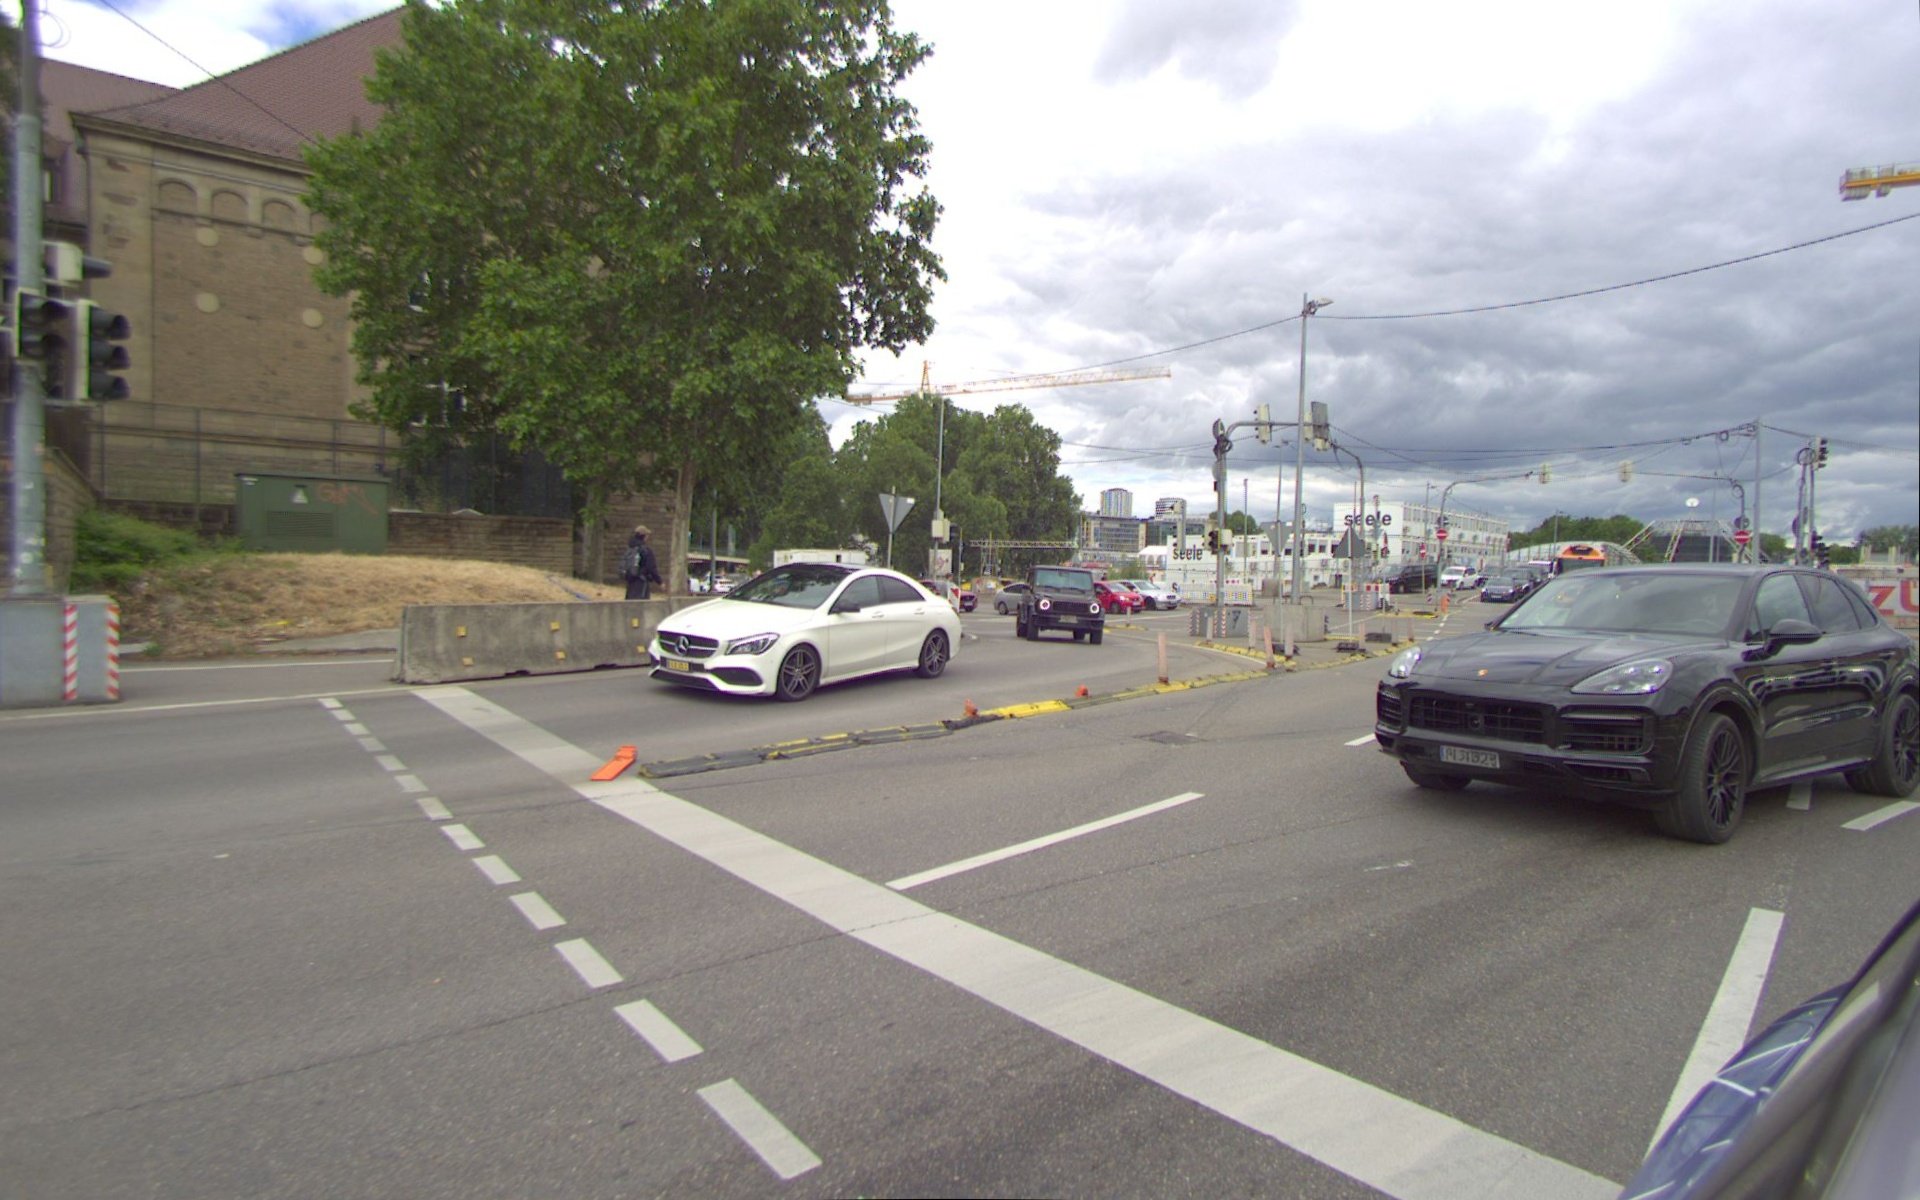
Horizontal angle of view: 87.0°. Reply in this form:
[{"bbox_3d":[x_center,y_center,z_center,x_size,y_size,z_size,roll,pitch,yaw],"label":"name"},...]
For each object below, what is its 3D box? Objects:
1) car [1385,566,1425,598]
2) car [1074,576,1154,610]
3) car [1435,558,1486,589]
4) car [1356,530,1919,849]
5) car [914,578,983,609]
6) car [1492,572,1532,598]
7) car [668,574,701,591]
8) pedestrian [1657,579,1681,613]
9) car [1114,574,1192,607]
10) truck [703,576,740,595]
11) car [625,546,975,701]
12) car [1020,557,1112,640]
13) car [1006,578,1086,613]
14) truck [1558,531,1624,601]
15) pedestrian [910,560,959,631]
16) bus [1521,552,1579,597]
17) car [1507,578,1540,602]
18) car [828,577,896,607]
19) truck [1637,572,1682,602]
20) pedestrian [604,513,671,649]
[{"bbox_3d":[30.454,-1.239,69.202,1.984,2.038,3.957,3,2,30],"label":"car"},{"bbox_3d":[7.034,-0.354,46.382,1.661,1.453,3.445,-2,3,-38],"label":"car"},{"bbox_3d":[36.204,-1.909,73.167,4.095,2.038,1.996,1,2,-44],"label":"car"},{"bbox_3d":[5.186,0.491,7.269,4.515,1.668,1.959,1,0,-30],"label":"car"},{"bbox_3d":[-0.615,-0.328,50.542,1.636,1.453,3.443,1,1,-40],"label":"car"},{"bbox_3d":[32.317,-0.890,59.238,1.773,1.453,4.022,2,2,32],"label":"car"},{"bbox_3d":[-27.353,-1.742,100.407,1.734,1.708,3.635,0,2,-42],"label":"car"},{"bbox_3d":[34.398,-0.200,49.104,0.843,1.612,0.616,1,1,30],"label":"pedestrian"},{"bbox_3d":[9.171,-0.470,48.336,1.664,1.453,3.445,-2,3,-38],"label":"car"},{"bbox_3d":[-24.082,-1.478,102.077,1.907,1.702,4.008,1,2,-41],"label":"truck"},{"bbox_3d":[-1.698,0.170,12.191,1.727,1.453,4.331,4,3,32],"label":"car"},{"bbox_3d":[2.698,-0.020,26.555,1.902,1.962,3.673,2,-1,-1],"label":"car"},{"bbox_3d":[3.817,-0.220,45.336,1.636,1.453,3.442,-3,2,-40],"label":"car"},{"bbox_3d":[36.662,-1.992,58.927,2.889,3.720,8.927,3,3,31],"label":"truck"},{"bbox_3d":[-0.744,-0.149,29.977,1.185,2.038,1.190,1,1,12],"label":"pedestrian"},{"bbox_3d":[45.850,-1.947,78.485,2.798,3.208,9.277,3,2,37],"label":"bus"},{"bbox_3d":[35.780,-0.664,64.211,1.640,1.453,3.578,2,2,32],"label":"car"},{"bbox_3d":[-5.492,-0.489,56.568,1.807,1.588,3.994,-2,2,-41],"label":"car"},{"bbox_3d":[37.924,-0.714,54.921,1.814,1.559,3.717,3,2,33],"label":"truck"},{"bbox_3d":[-4.969,-0.295,15.626,0.615,2.038,0.845,1,1,19],"label":"pedestrian"}]
